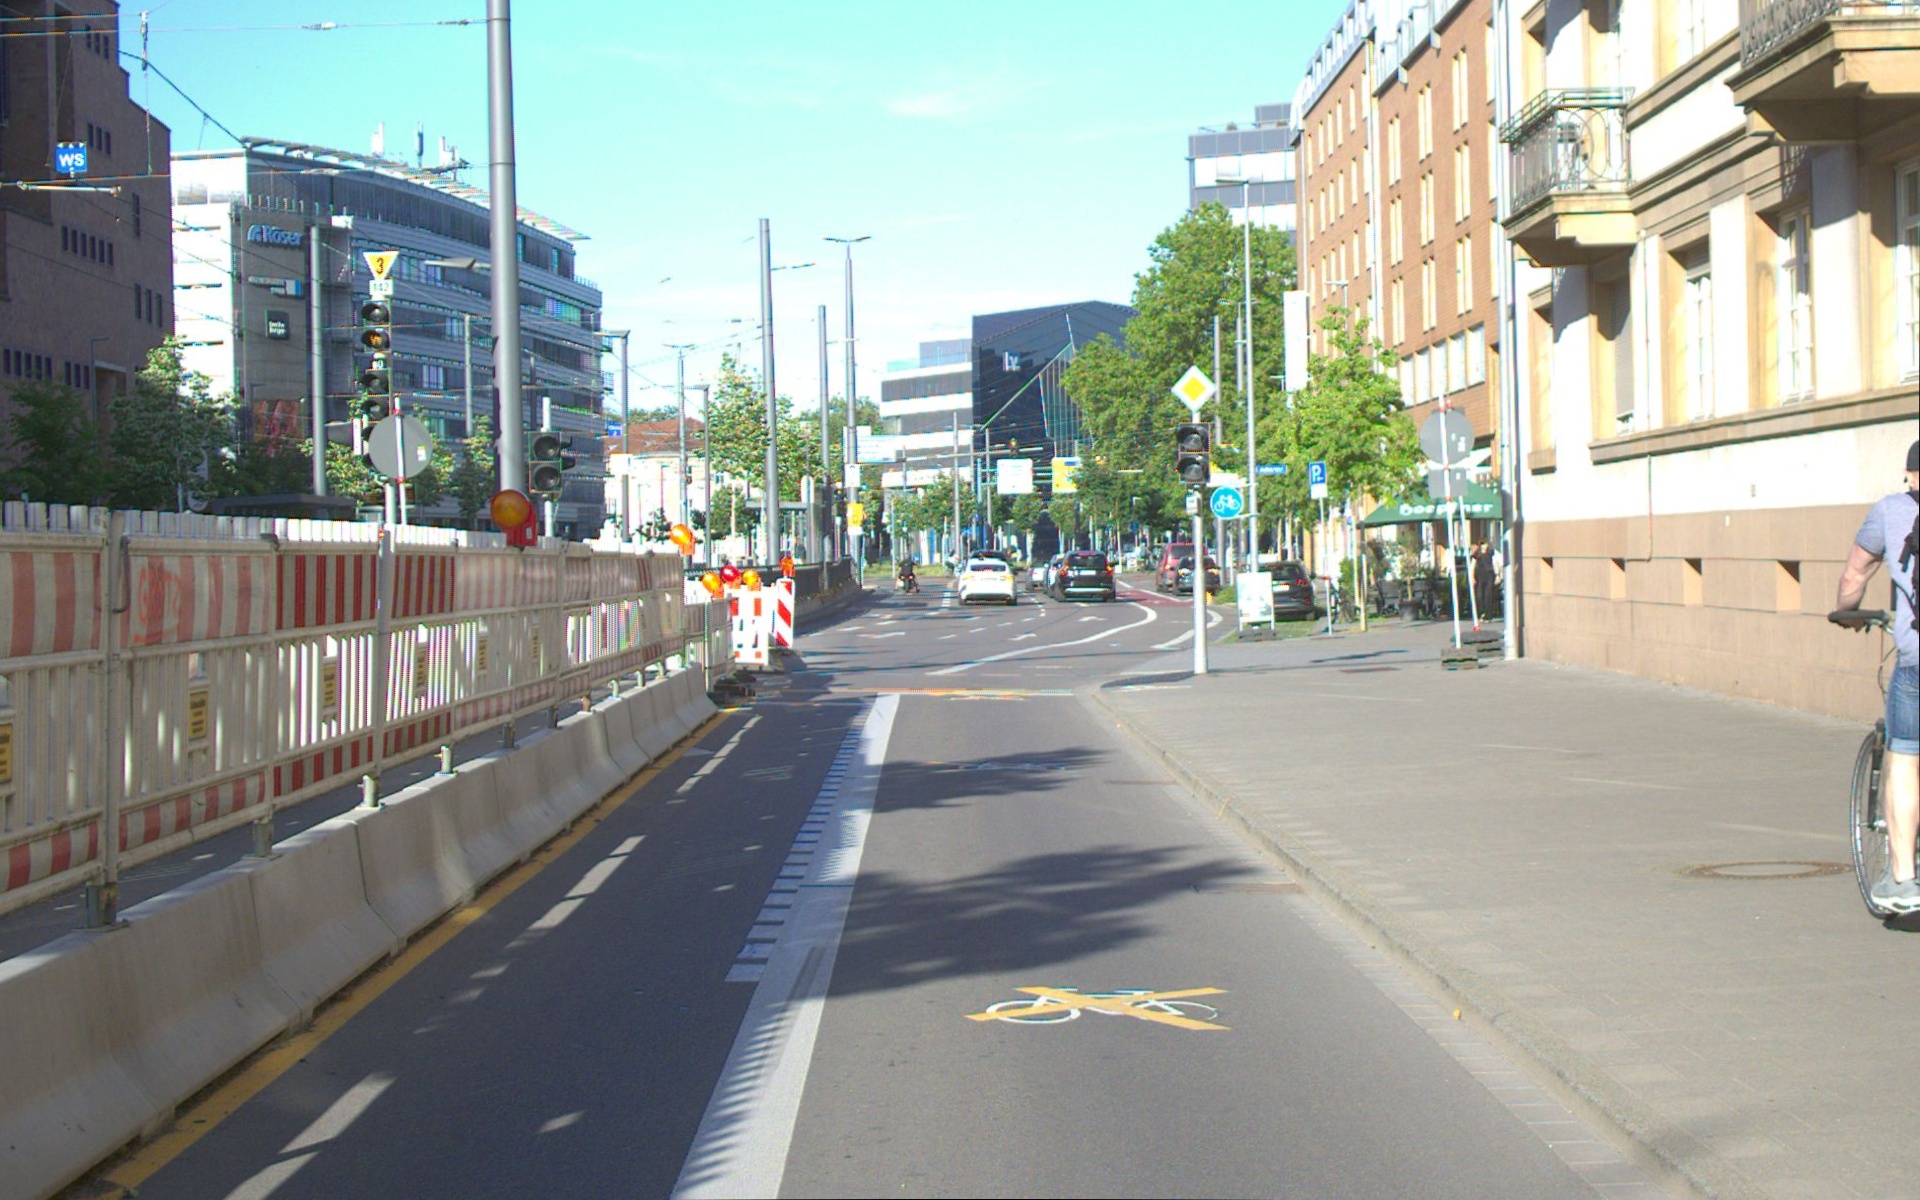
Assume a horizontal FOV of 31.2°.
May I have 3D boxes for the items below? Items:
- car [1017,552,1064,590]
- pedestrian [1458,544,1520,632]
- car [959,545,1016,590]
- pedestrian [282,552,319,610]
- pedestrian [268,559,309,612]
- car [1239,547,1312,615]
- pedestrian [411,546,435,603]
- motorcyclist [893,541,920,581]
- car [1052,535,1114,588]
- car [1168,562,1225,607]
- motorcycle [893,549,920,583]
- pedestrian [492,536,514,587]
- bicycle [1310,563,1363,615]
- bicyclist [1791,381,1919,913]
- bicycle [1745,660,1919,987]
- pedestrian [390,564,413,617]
[{"bbox_3d":[3.308,-1.212,142.241,1.851,1.492,4.379,0,1,0],"label":"car"},{"bbox_3d":[10.885,-0.258,70.756,0.885,1.757,1.104,-3,0,27],"label":"pedestrian"},{"bbox_3d":[0.866,-1.080,111.735,1.780,1.409,4.819,1,1,0],"label":"car"},{"bbox_3d":[-15.371,-0.440,80.158,0.646,1.304,0.721,-3,1,0],"label":"pedestrian"},{"bbox_3d":[-15.251,-0.332,78.119,0.721,1.164,0.721,-3,1,0],"label":"pedestrian"},{"bbox_3d":[8.129,-0.507,88.287,1.721,1.631,4.230,-2,1,6],"label":"car"},{"bbox_3d":[-16.385,-0.783,104.861,0.622,1.709,0.616,0,1,1],"label":"pedestrian"},{"bbox_3d":[-2.138,-1.563,137.563,1.019,1.598,1.148,1,1,1],"label":"motorcyclist"},{"bbox_3d":[4.173,-1.339,117.398,1.975,1.753,4.632,1,1,0],"label":"car"},{"bbox_3d":[8.901,-0.607,129.737,1.846,1.555,4.633,1,2,0],"label":"car"},{"bbox_3d":[-2.135,-1.359,137.501,1.019,1.307,2.914,1,1,0],"label":"motorcycle"},{"bbox_3d":[-15.216,-1.273,114.483,0.640,1.690,0.541,1,1,1],"label":"pedestrian"},{"bbox_3d":[8.568,-0.238,78.352,0.765,1.077,1.998,-6,0,-3],"label":"bicycle"},{"bbox_3d":[3.365,0.142,11.843,0.733,1.757,0.938,-1,1,-1],"label":"bicyclist"},{"bbox_3d":[3.395,0.725,11.991,0.767,0.950,2.198,-1,1,-1],"label":"bicycle"},{"bbox_3d":[-15.647,-0.271,96.341,0.539,1.454,0.642,1,1,1],"label":"pedestrian"}]
